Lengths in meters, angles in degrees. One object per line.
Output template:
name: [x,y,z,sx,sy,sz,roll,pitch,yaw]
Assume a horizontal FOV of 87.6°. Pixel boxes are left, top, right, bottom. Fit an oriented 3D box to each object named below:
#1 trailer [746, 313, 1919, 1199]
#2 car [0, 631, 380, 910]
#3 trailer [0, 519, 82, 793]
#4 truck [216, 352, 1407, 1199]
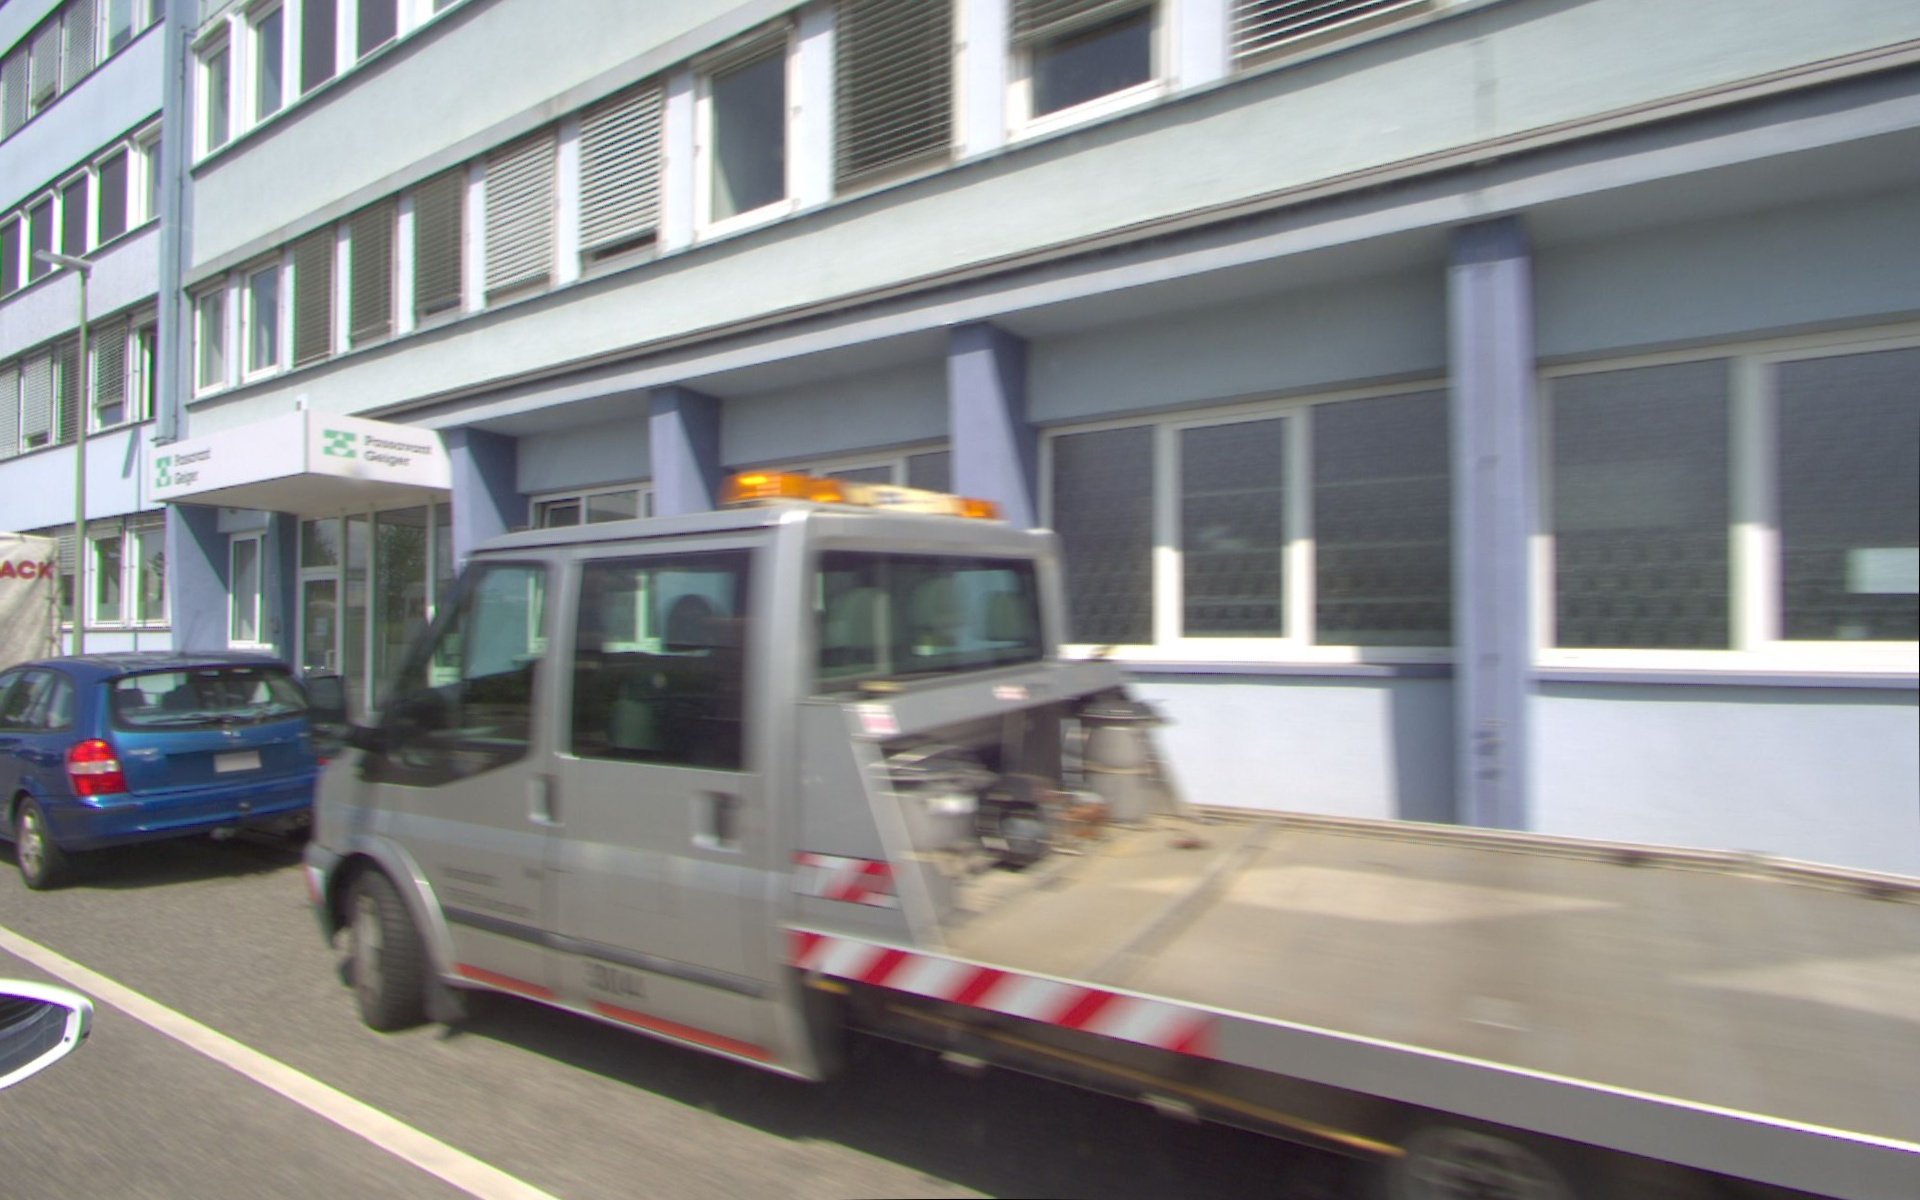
trailer: [2.314,0.580,2.192,5.683,1.996,1.970,-1,-2,32]
car: [-6.414,1.064,7.560,4.342,1.561,1.716,-2,-4,33]
trailer: [-11.327,0.560,10.628,5.004,2.585,1.864,-1,-2,35]
truck: [-0.835,0.602,4.098,4.666,2.061,1.961,-1,-2,32]
